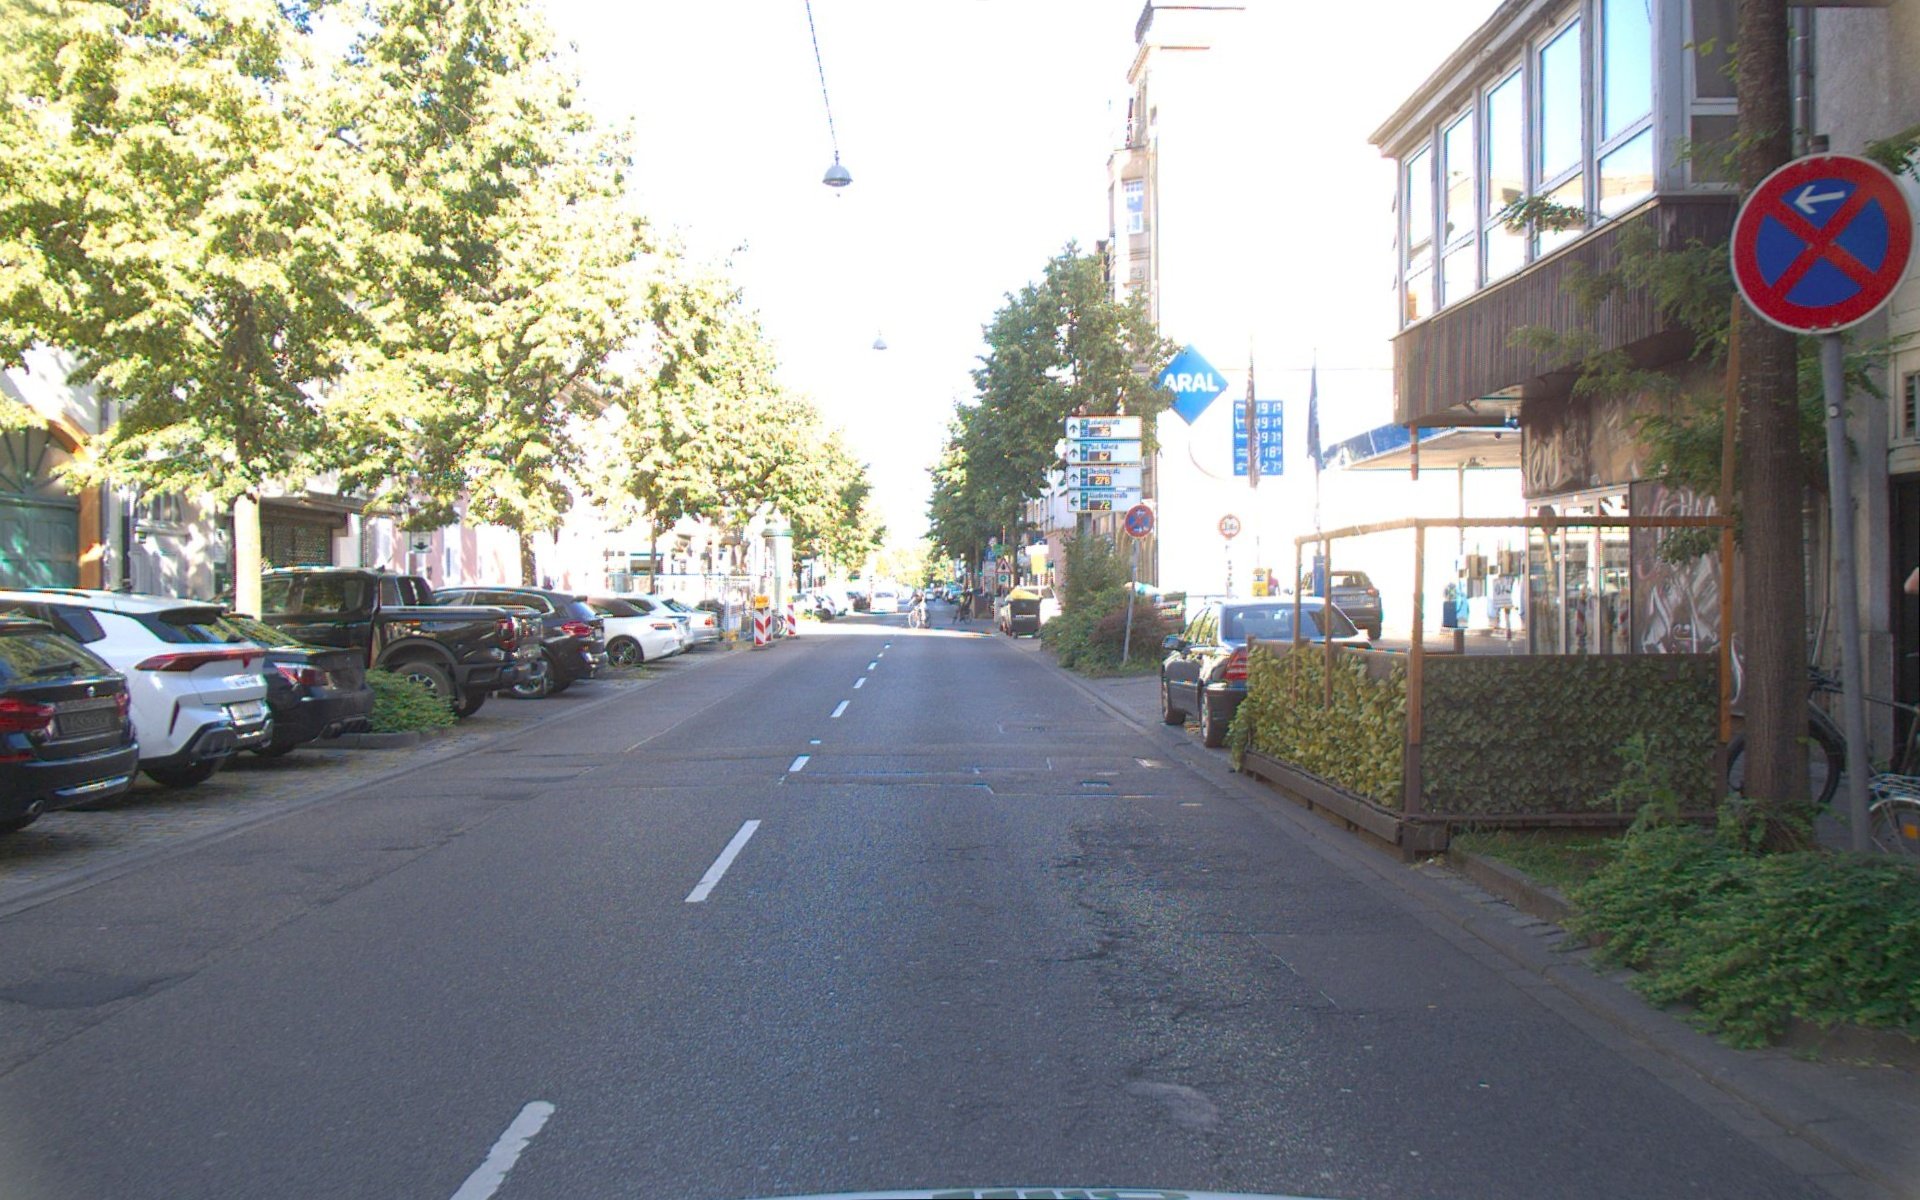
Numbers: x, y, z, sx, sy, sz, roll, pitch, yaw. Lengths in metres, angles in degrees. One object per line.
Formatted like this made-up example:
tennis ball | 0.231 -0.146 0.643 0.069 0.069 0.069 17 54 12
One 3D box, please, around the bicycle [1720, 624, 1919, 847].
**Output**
bicycle | 5.229 0.732 9.242 0.676 1.169 1.658 -1 0 -43

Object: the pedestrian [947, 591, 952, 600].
pedestrian | -1.170 -0.498 185.761 0.534 1.044 0.546 -1 0 -3

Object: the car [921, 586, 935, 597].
car | -4.292 -1.139 221.023 1.756 1.436 3.999 -1 1 -1

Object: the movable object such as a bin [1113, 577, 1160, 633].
movable object such as a bin | 5.401 0.153 50.777 1.181 1.656 1.497 -1 0 -3

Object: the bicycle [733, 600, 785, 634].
bicycle | -7.118 0.584 58.579 1.820 1.191 0.599 0 0 -9

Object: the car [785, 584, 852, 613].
car | -8.888 -0.120 104.063 3.903 1.724 2.001 -1 1 3

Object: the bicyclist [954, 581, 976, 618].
bicyclist | 0.245 -0.039 78.745 0.704 1.722 1.157 -1 0 21

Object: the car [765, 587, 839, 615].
car | -8.674 0.051 91.155 3.907 1.414 1.999 -1 1 -2

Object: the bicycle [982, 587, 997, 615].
bicycle | 1.588 0.035 89.530 0.549 1.465 1.628 -7 1 -1

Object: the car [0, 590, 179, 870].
car | -7.476 0.720 10.052 4.584 1.546 1.808 0 0 0

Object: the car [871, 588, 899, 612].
car | -5.024 -0.010 110.875 1.766 1.460 4.408 -3 0 -2

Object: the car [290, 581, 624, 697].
car | -7.690 0.576 25.585 4.584 1.723 1.808 0 0 0

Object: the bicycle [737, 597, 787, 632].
bicycle | -7.294 0.522 60.902 1.820 1.274 0.599 0 0 -9

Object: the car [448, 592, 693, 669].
car | -7.842 0.595 33.635 4.588 1.491 1.806 0 0 -4

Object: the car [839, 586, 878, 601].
car | -10.518 -0.673 171.707 3.907 1.526 1.999 -1 1 -2

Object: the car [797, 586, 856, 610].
car | -9.108 -0.130 112.875 3.907 1.526 1.999 -1 1 -2

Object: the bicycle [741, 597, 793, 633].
bicycle | -6.905 0.546 59.257 1.820 1.274 0.599 0 0 -9

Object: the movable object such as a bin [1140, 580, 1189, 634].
movable object such as a bin | 6.115 0.201 49.535 1.245 1.557 1.176 -1 0 -3

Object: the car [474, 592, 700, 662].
car | -8.108 0.567 36.251 4.588 1.491 1.806 0 0 -4

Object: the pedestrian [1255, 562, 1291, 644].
pedestrian | 7.286 0.060 38.538 0.692 1.882 0.689 -1 0 2

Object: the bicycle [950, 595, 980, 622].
bicycle | 0.245 0.397 78.744 0.704 1.241 2.036 -1 0 21

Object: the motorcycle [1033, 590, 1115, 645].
motorcycle | 2.952 0.448 43.059 1.943 1.353 0.908 -1 1 -14

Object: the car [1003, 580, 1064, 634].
car | 2.530 0.211 57.703 1.785 1.708 4.600 -3 0 -1

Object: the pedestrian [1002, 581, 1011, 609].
pedestrian | 2.823 -0.287 100.536 0.535 1.678 0.664 -1 0 -1

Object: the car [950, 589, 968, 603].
car | -0.159 -0.484 190.537 1.953 1.534 3.999 0 0 -2

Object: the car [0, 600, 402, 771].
car | -7.820 0.758 15.458 4.584 1.488 1.808 0 0 0

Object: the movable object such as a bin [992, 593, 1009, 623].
movable object such as a bin | 1.750 0.341 71.323 0.691 1.244 0.680 -1 0 -4

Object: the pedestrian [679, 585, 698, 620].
pedestrian | -12.928 0.112 78.805 0.759 1.671 0.686 -1 0 -19

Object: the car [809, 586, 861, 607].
car | -9.556 -0.250 126.817 3.907 1.526 1.999 -1 1 -2

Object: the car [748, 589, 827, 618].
car | -8.883 0.162 85.362 3.907 1.414 1.999 -1 1 -2

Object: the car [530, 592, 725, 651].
car | -8.296 0.513 41.560 4.588 1.437 1.806 0 0 -4

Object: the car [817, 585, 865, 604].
car | -9.866 -0.465 137.580 3.907 1.526 1.999 -1 1 -2

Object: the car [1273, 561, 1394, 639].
car | 8.671 -0.015 38.730 1.862 1.677 4.293 -1 0 0

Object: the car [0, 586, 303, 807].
car | -7.774 0.696 12.876 4.584 1.599 1.808 0 0 0

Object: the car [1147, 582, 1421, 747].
car | 3.257 0.577 17.600 1.862 1.436 4.645 -2 0 -1

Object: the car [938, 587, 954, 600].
car | -1.818 -0.801 210.021 1.953 1.534 3.999 0 0 -2

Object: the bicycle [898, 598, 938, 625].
bicycle | -1.745 0.491 69.016 0.752 1.077 1.953 -1 1 28

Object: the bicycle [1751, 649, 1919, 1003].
bicycle | 3.641 0.808 5.546 0.597 1.139 2.051 -8 2 -10

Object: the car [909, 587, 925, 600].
car | -4.956 -0.777 190.475 1.786 1.415 4.299 -3 0 -2

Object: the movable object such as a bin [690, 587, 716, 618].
movable object such as a bin | -12.874 0.134 82.836 1.117 1.511 1.235 -1 0 -3

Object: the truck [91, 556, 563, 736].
truck | -7.618 0.523 20.309 4.982 1.972 1.999 -1 0 -2

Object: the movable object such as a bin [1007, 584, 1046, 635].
movable object such as a bin | 2.159 0.293 53.487 1.118 1.589 1.460 -1 0 7

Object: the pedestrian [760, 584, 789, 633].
pedestrian | -6.708 0.297 59.937 0.785 1.737 0.758 0 0 -34

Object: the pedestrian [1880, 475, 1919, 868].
pedestrian | 5.292 0.351 8.490 0.906 1.969 0.761 -1 0 24

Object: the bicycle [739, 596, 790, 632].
bicycle | -7.133 0.514 60.265 1.820 1.274 0.599 0 0 -9

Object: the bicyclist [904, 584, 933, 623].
bicyclist | -1.730 0.150 69.013 0.752 1.587 1.039 -1 0 28
